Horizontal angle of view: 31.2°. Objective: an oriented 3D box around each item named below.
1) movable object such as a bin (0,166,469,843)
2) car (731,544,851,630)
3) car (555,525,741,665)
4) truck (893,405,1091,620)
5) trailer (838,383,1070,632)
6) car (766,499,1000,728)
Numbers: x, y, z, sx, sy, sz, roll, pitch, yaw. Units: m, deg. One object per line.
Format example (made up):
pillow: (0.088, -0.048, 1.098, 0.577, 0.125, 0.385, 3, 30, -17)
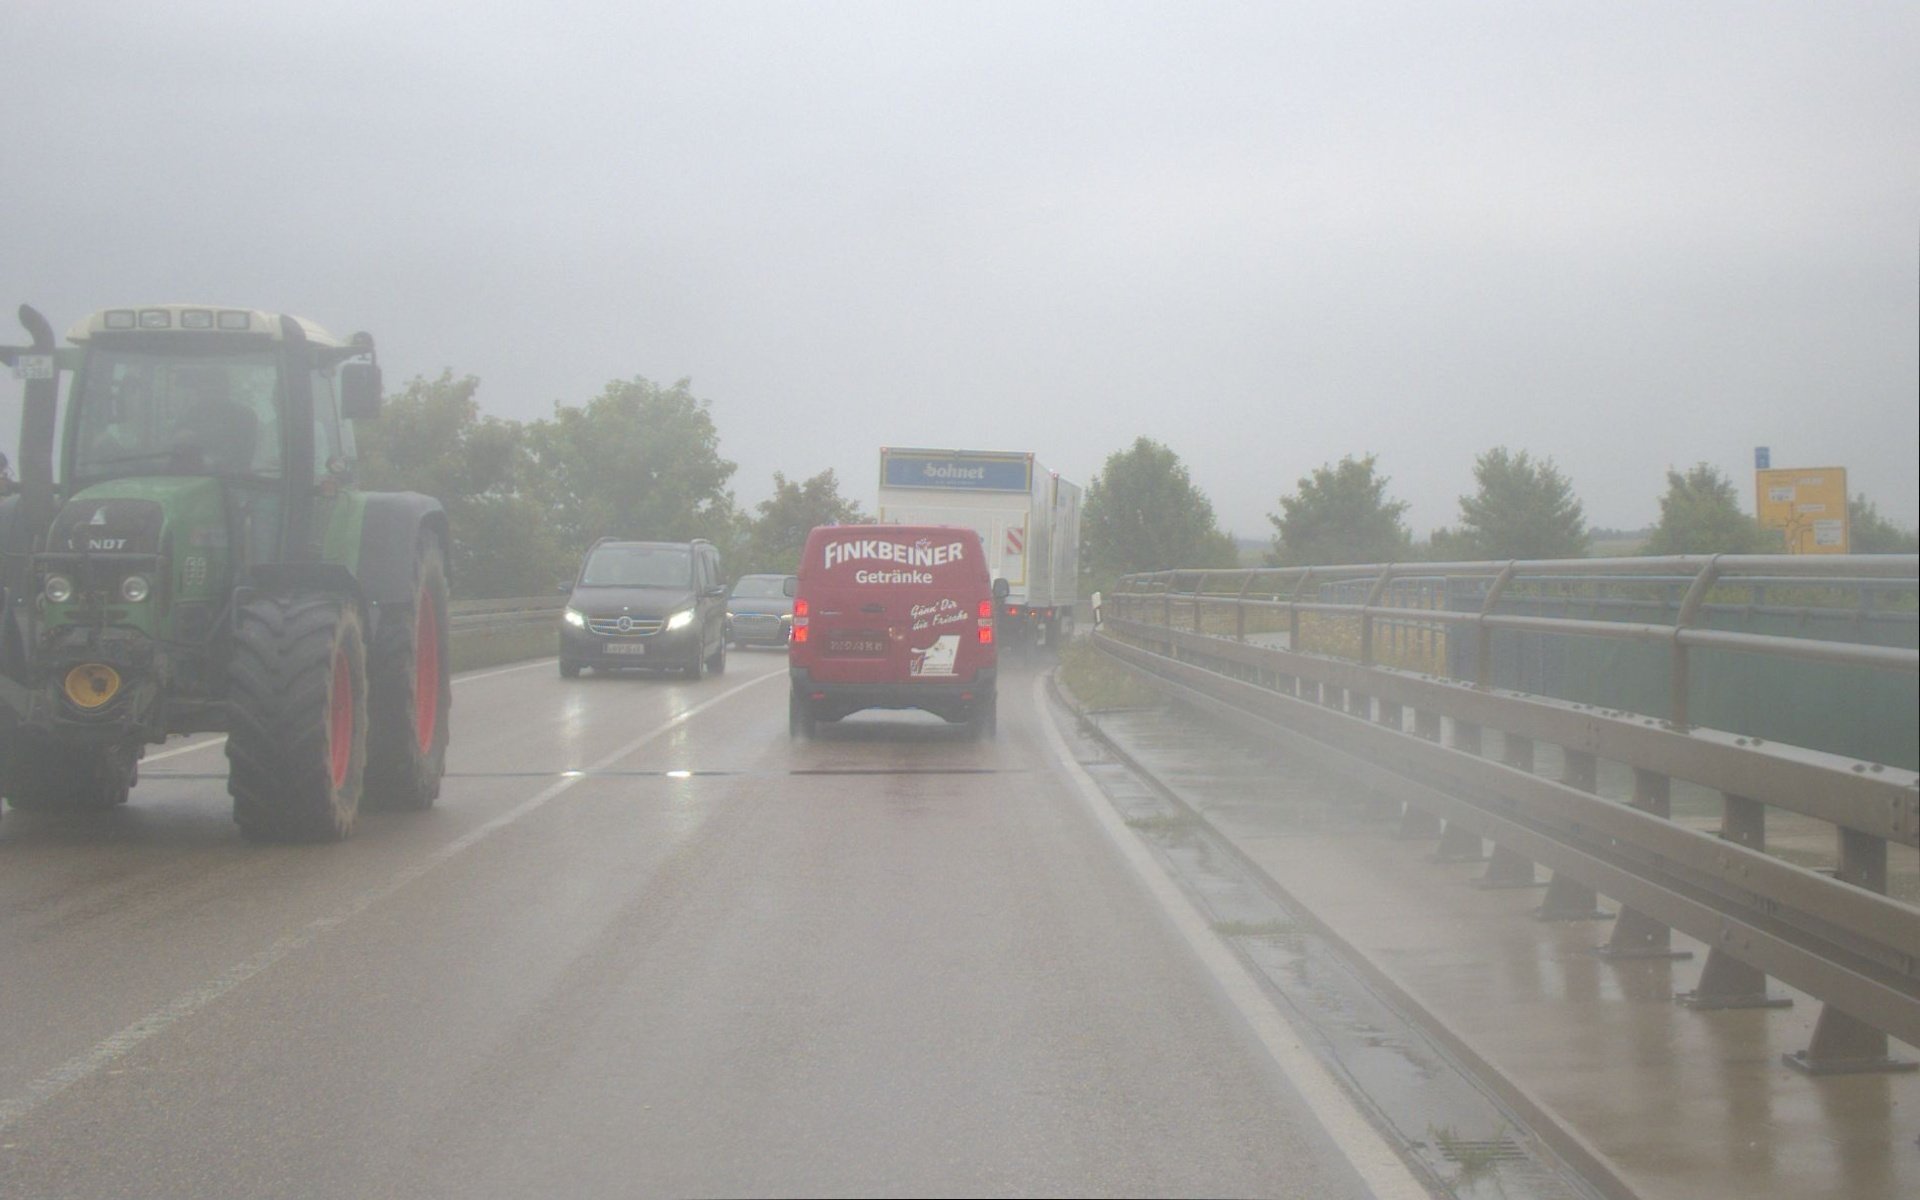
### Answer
movable object such as a bin: (-4.584, -0.524, 19.829, 2.748, 3.433, 4.643, 0, 1, 1)
car: (-3.106, -0.269, 63.922, 1.839, 1.532, 4.069, 0, 1, 3)
car: (-4.257, -0.116, 47.683, 2.066, 1.830, 4.931, 0, 1, 1)
truck: (0.772, -1.707, 68.978, 3.202, 3.908, 8.738, 3, 1, 4)
trailer: (0.041, -1.562, 60.225, 3.202, 3.908, 8.738, 3, 1, 4)
car: (-0.710, 0.060, 31.809, 1.993, 1.919, 4.144, 1, 2, -1)
